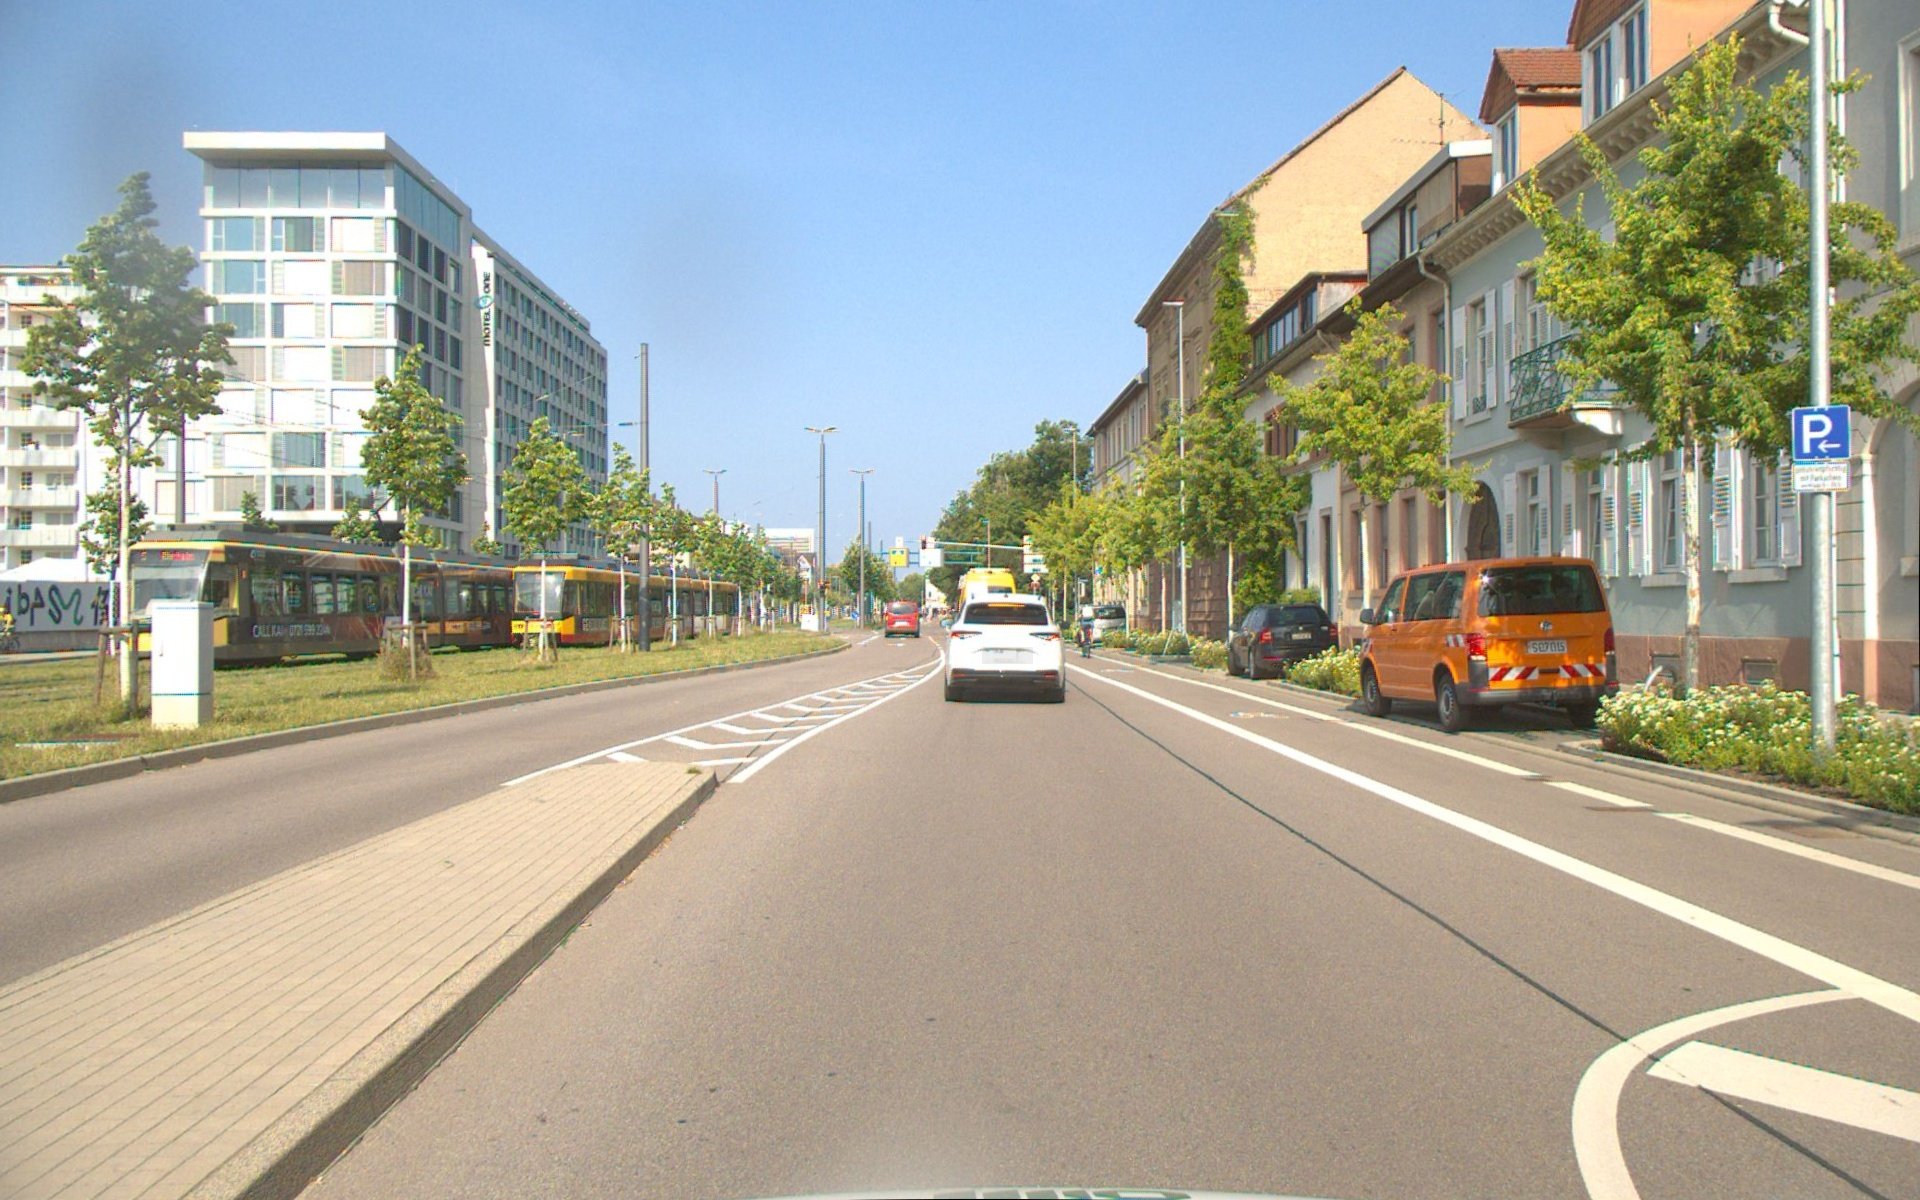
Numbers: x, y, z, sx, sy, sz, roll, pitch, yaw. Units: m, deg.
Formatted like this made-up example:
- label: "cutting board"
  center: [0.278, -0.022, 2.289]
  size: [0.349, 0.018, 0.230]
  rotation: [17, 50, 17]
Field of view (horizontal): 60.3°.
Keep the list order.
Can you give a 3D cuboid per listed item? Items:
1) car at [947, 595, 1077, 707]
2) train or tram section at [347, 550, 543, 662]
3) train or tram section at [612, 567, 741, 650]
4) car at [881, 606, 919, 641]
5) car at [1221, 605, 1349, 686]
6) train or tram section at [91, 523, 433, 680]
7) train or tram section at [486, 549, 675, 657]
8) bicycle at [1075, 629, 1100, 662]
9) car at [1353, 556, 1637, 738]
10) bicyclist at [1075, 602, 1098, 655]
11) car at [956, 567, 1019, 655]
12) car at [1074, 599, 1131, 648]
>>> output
- label: "car"
  center: [0.725, 0.743, 25.664]
  size: [1.832, 1.602, 3.999]
  rotation: [0, 0, -1]
- label: "train or tram section"
  center: [-18.206, 0.247, 59.778]
  size: [2.822, 3.599, 13.608]
  rotation: [0, 0, 0]
- label: "train or tram section"
  center: [-14.331, 0.526, 85.774]
  size: [2.846, 3.772, 18.292]
  rotation: [1, -1, 2]
- label: "car"
  center: [-3.173, 1.253, 88.544]
  size: [1.891, 1.853, 4.000]
  rotation: [0, 0, 0]
- label: "car"
  center: [6.564, 0.904, 33.819]
  size: [1.640, 1.509, 4.310]
  rotation: [-2, -1, -1]
- label: "train or tram section"
  center: [-18.400, 0.081, 45.420]
  size: [2.801, 3.599, 14.899]
  rotation: [0, 0, 1]
- label: "train or tram section"
  center: [-14.973, 0.260, 67.561]
  size: [2.846, 3.740, 18.139]
  rotation: [1, -1, 2]
- label: "bicycle"
  center: [3.813, 1.348, 49.587]
  size: [0.642, 0.955, 1.517]
  rotation: [0, -1, 1]
- label: "car"
  center: [6.588, 0.527, 20.963]
  size: [2.021, 2.049, 4.587]
  rotation: [0, 0, -2]
- label: "bicyclist"
  center: [3.804, 0.855, 49.715]
  size: [0.626, 1.605, 0.771]
  rotation: [0, -1, 1]
- label: "car"
  center: [0.904, 0.293, 56.931]
  size: [1.979, 2.844, 5.400]
  rotation: [0, 1, -1]
- label: "car"
  center: [5.503, 0.905, 64.127]
  size: [1.776, 1.844, 3.834]
  rotation: [0, 0, -2]
